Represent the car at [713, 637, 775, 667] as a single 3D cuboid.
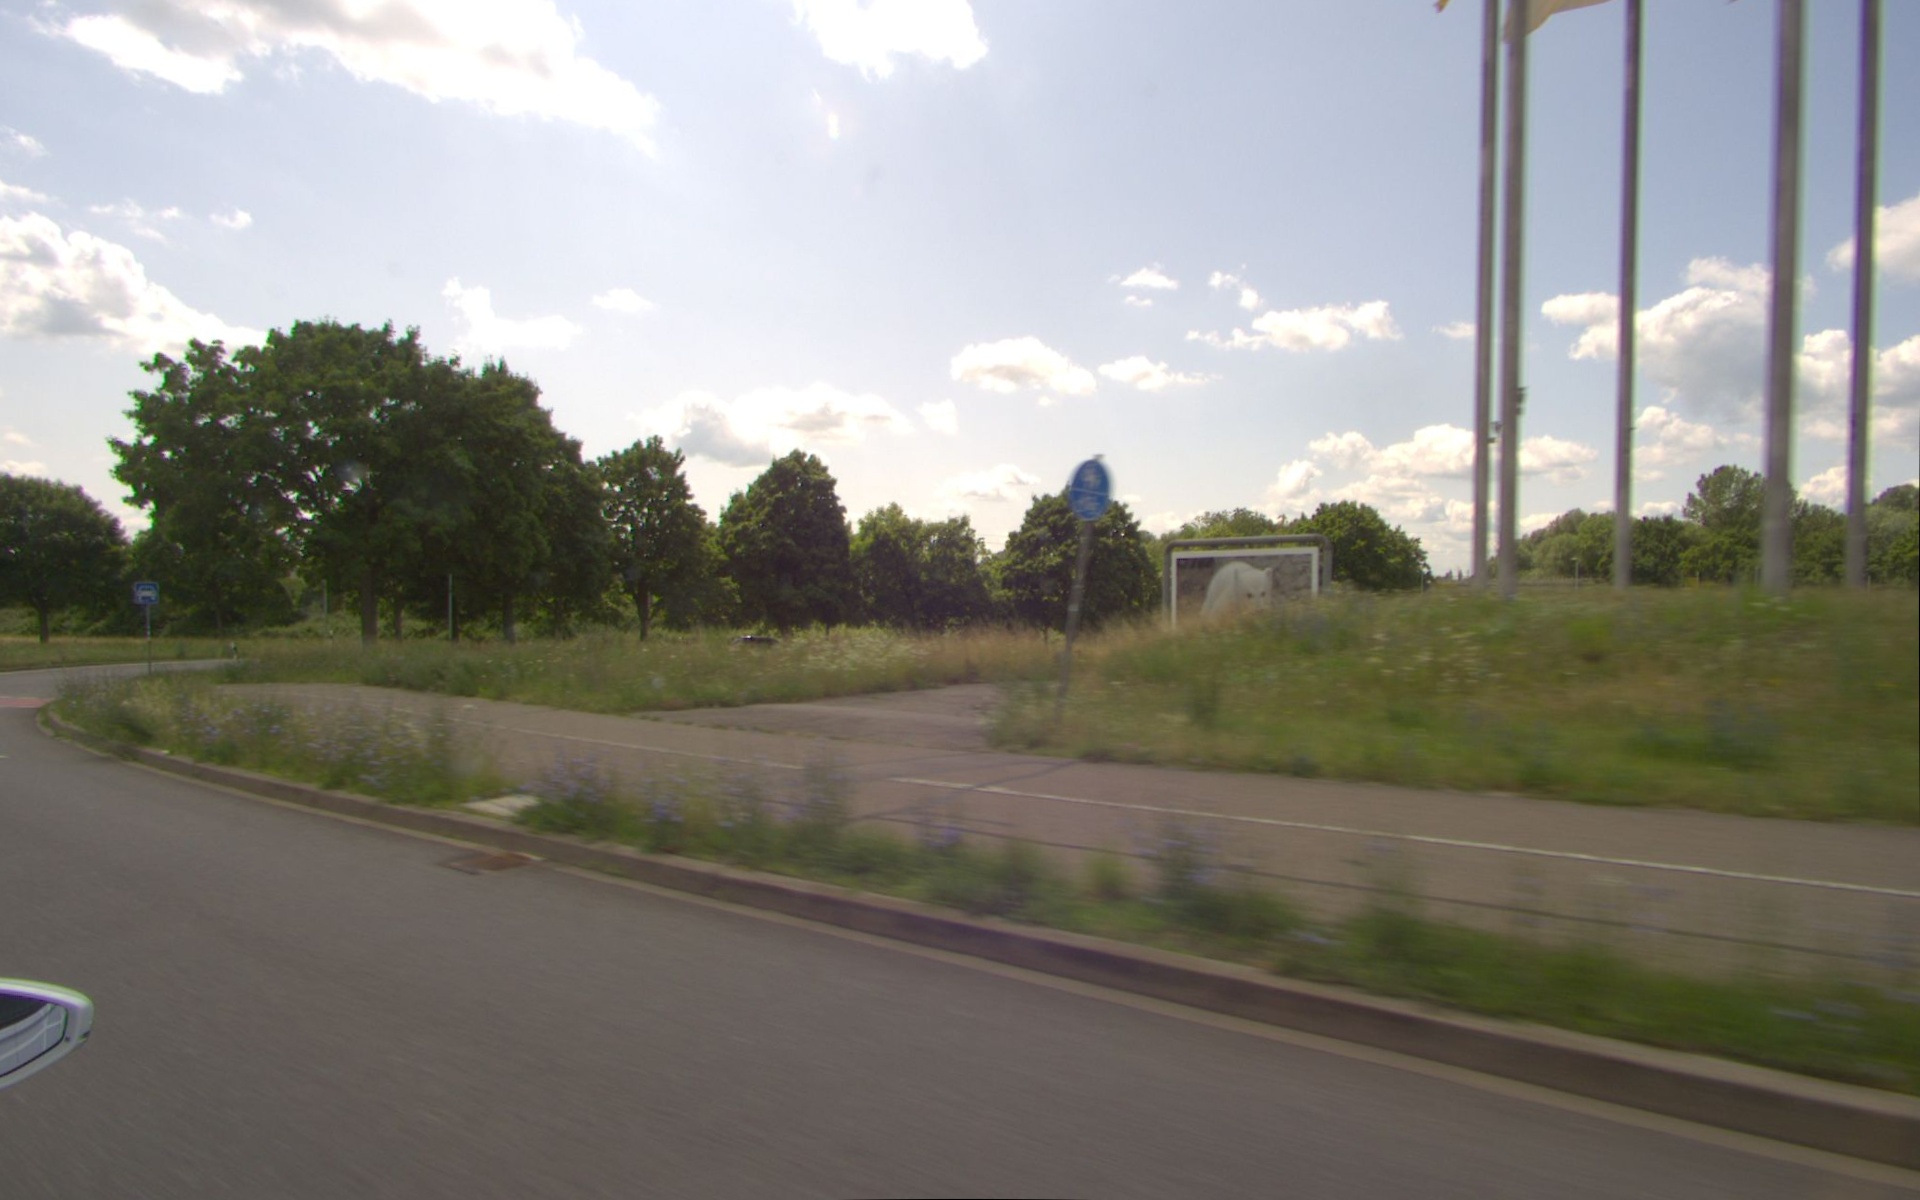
[{"bbox_3d":[-15.693,3.751,72.824,3.944,2.040,1.989,1,0,-31],"label":"car"}]
